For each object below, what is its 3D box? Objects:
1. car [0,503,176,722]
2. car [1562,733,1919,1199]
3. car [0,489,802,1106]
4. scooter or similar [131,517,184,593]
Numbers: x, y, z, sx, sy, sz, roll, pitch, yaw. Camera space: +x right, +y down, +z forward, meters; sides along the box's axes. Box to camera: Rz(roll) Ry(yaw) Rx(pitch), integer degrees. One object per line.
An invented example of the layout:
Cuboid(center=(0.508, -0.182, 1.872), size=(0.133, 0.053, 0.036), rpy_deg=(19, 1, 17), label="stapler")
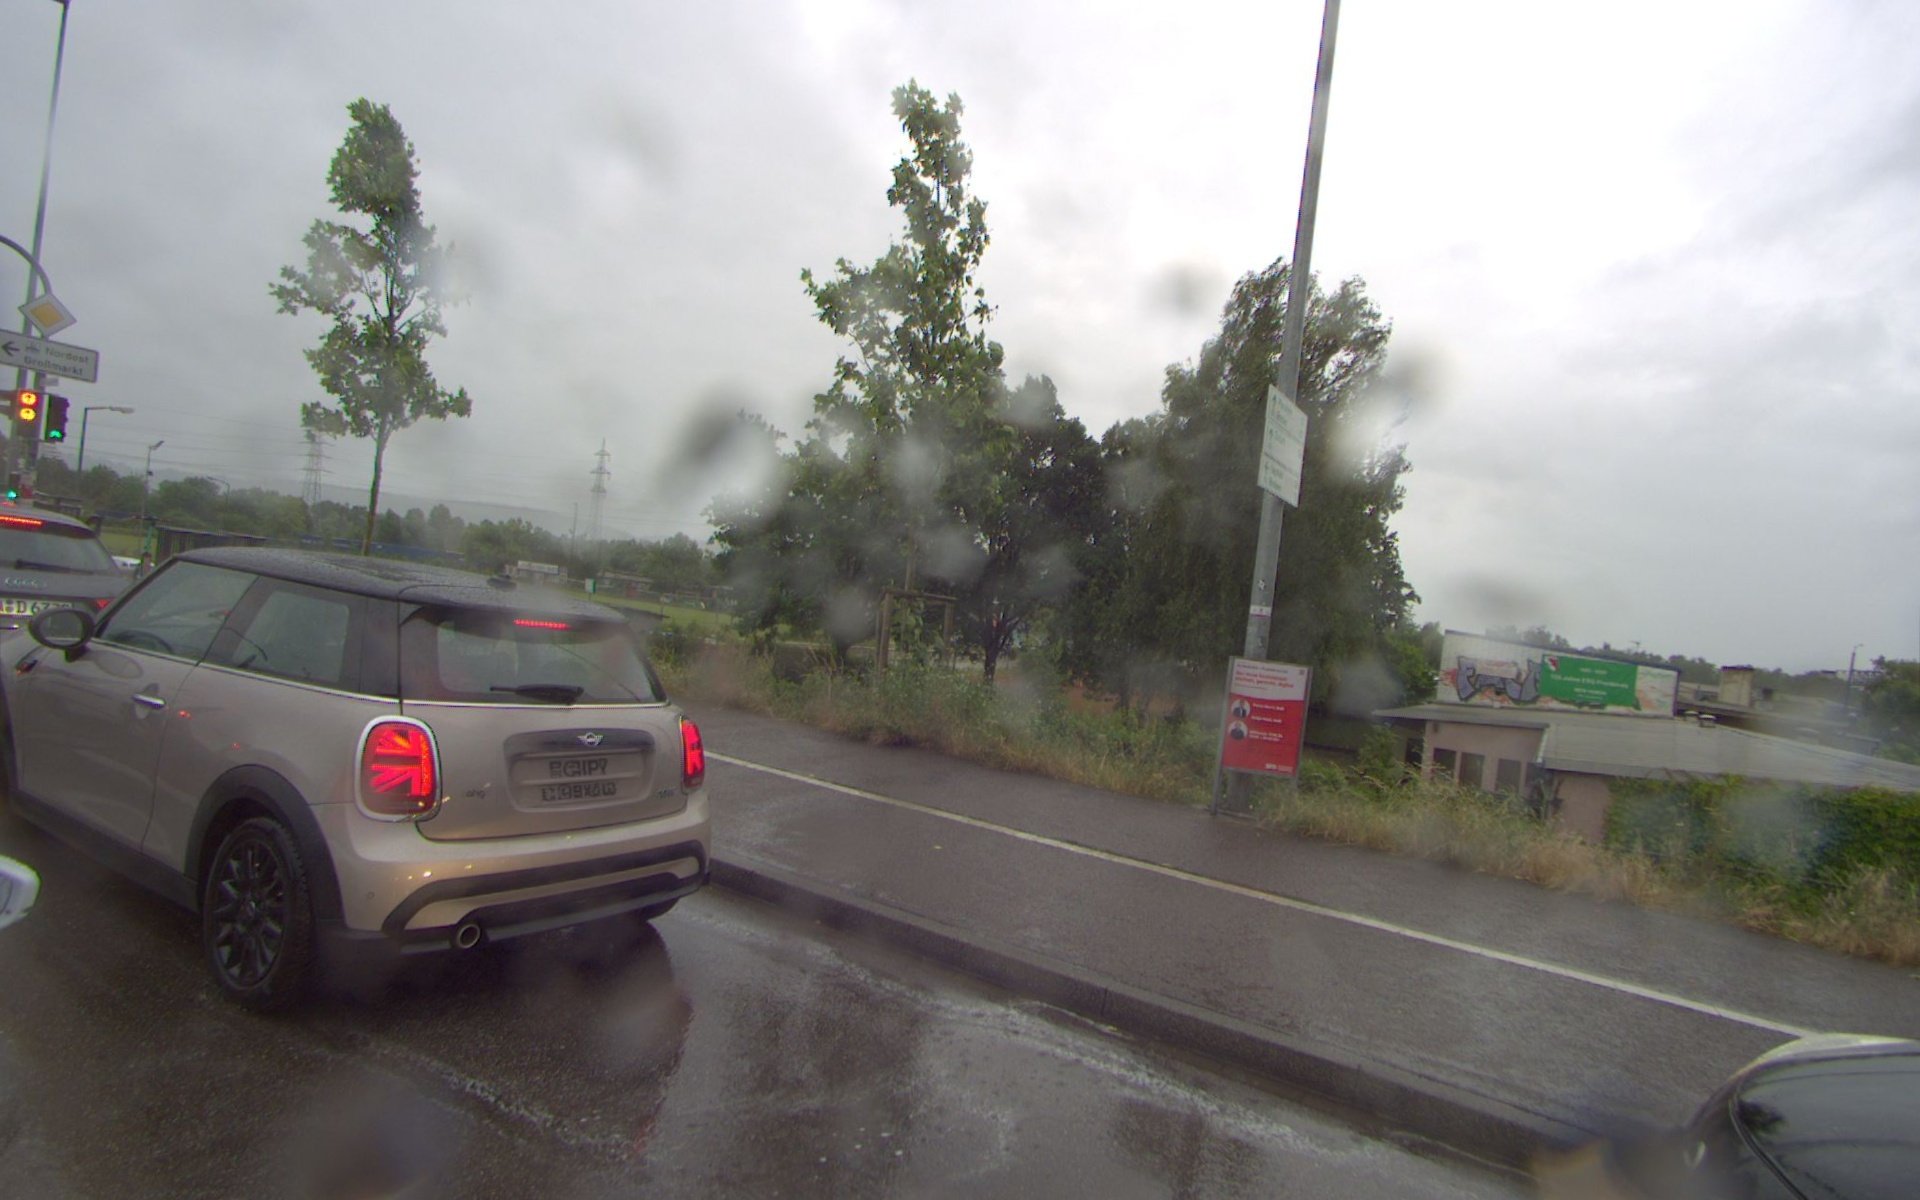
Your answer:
Cuboid(center=(-7.484, -0.080, 7.229), size=(3.563, 1.360, 1.632), rpy_deg=(6, -2, 31), label="car")
Cuboid(center=(2.790, 1.184, 1.063), size=(3.563, 1.445, 1.632), rpy_deg=(7, -1, 31), label="car")
Cuboid(center=(-2.696, 0.493, 4.333), size=(3.563, 1.525, 1.717), rpy_deg=(7, -2, 31), label="car")
Cuboid(center=(-13.556, -0.766, 16.987), size=(1.167, 1.171, 0.246), rpy_deg=(6, -1, 33), label="scooter or similar")
